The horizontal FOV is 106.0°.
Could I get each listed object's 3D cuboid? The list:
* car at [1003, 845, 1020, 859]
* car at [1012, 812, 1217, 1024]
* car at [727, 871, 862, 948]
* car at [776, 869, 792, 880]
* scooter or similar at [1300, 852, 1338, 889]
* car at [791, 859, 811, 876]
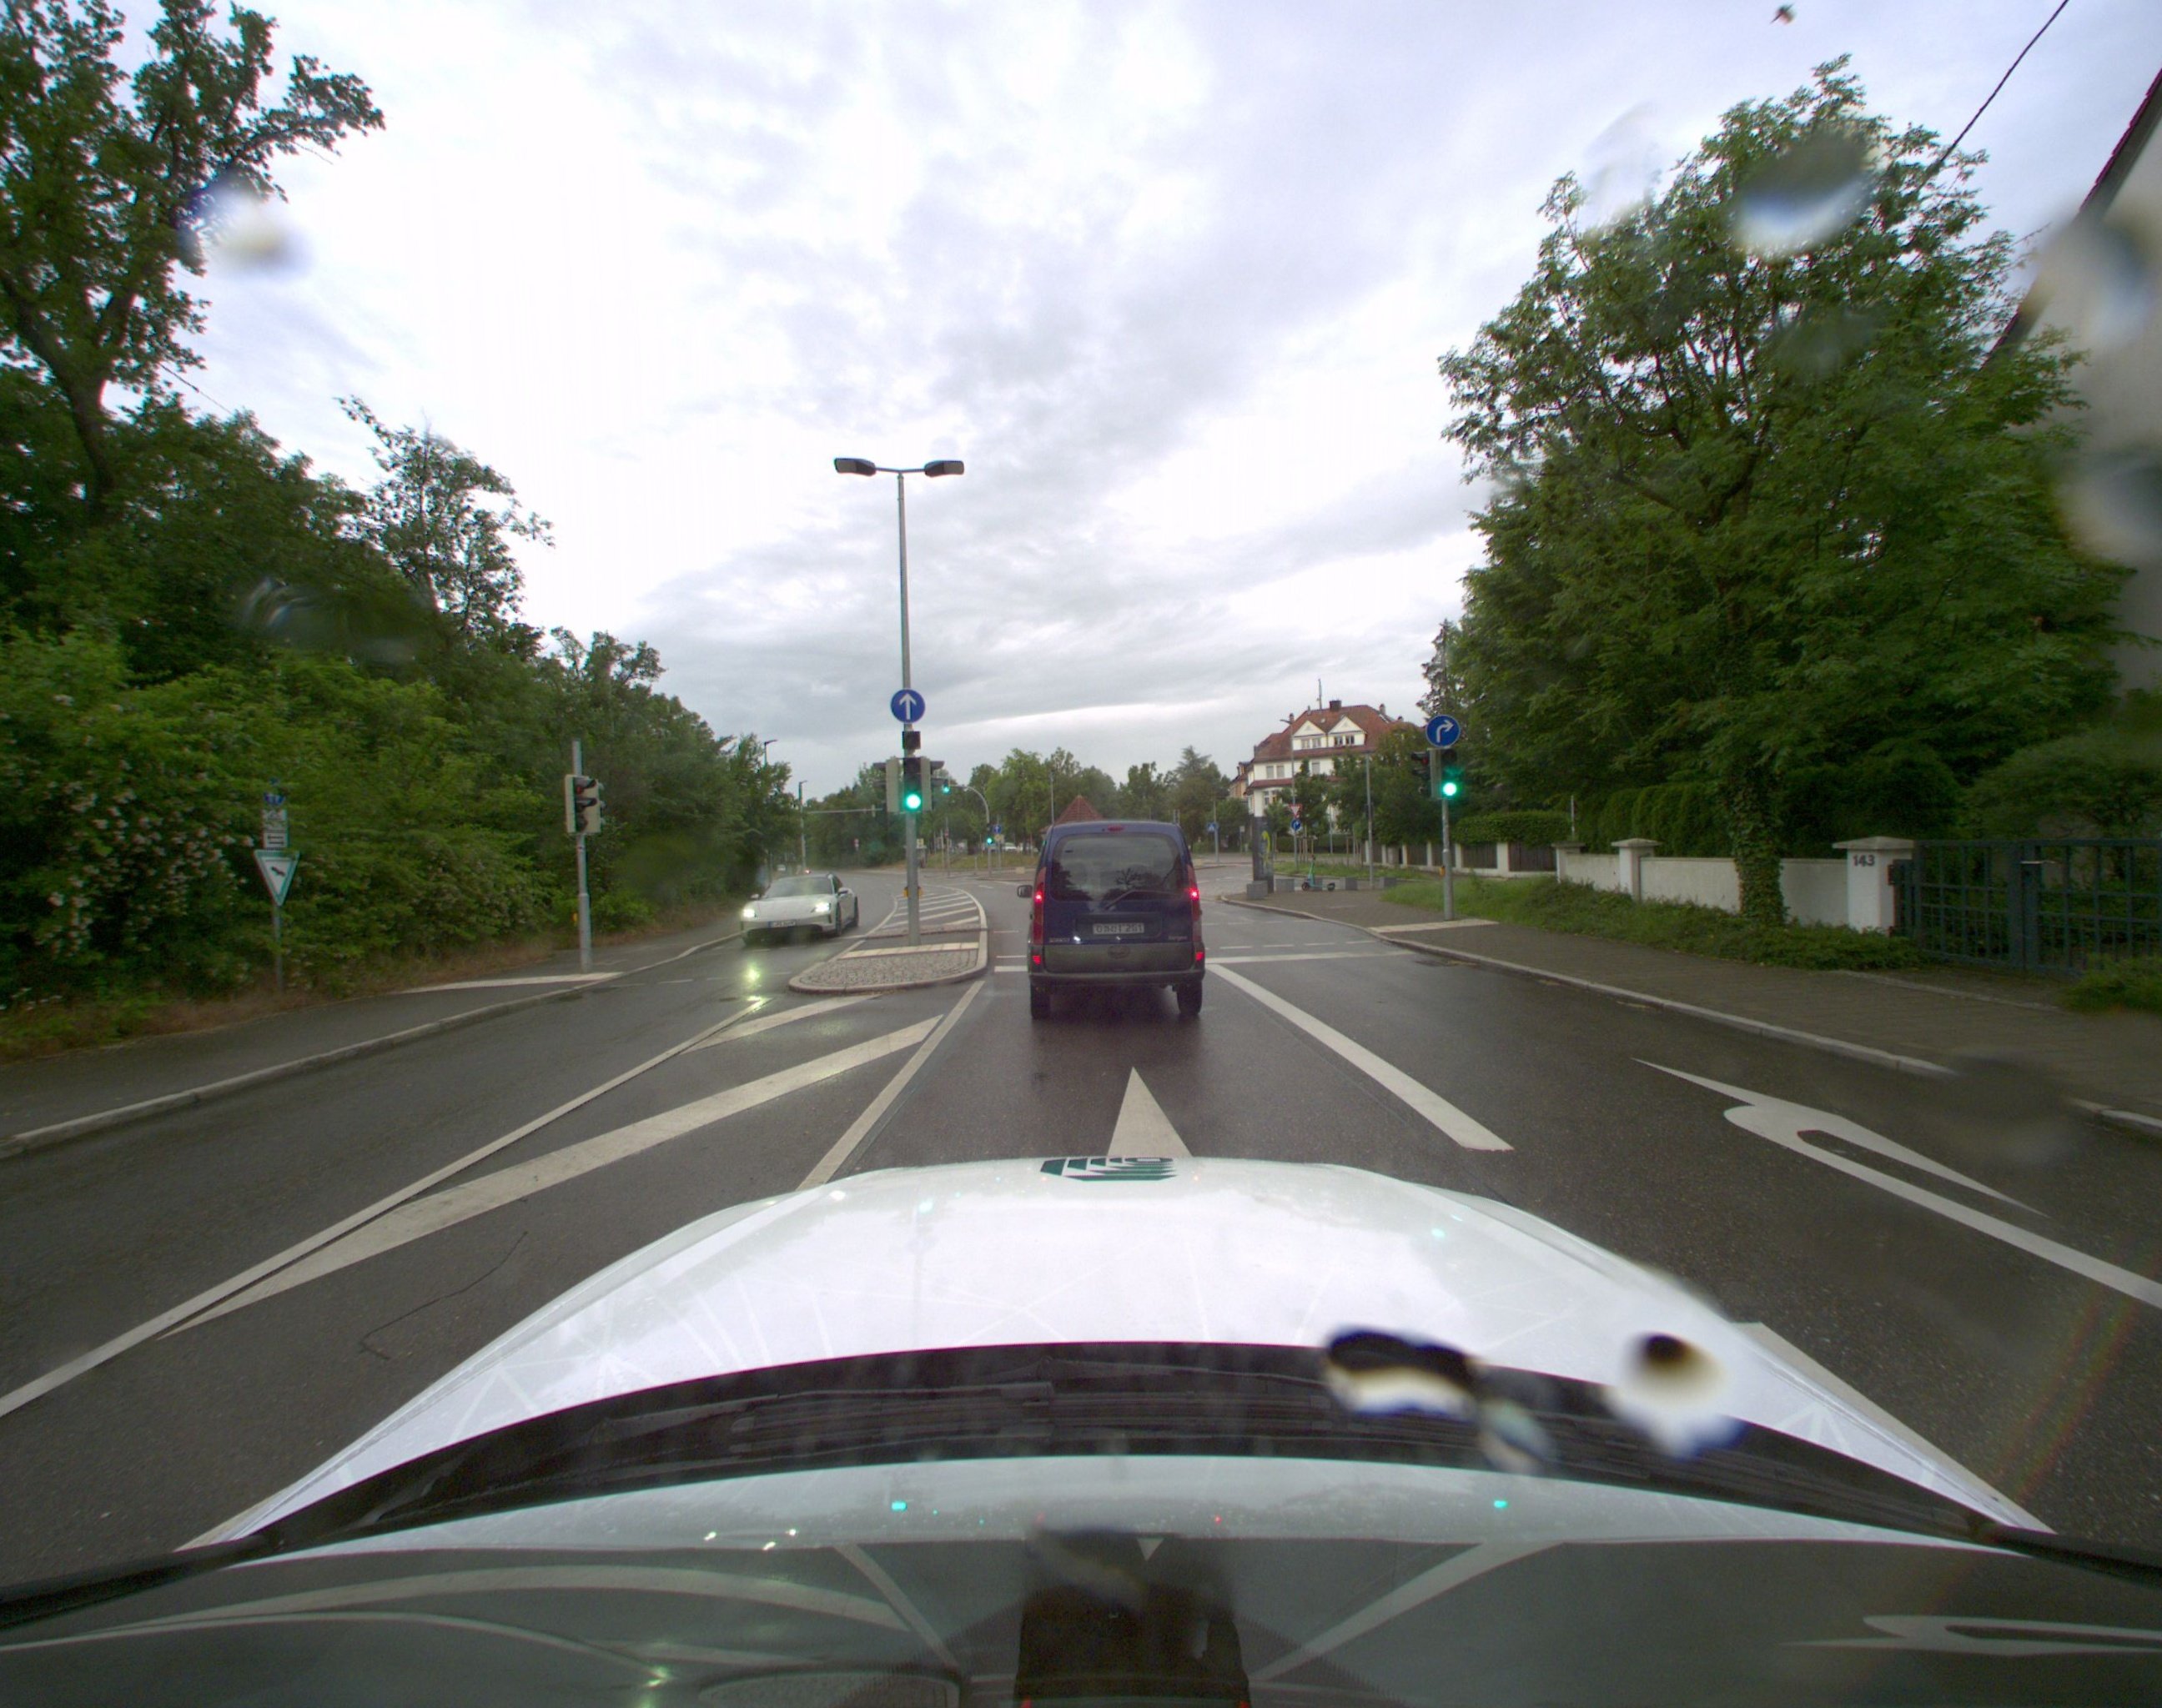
[{"bbox_3d":[-9.380,-0.261,110.315,1.989,1.812,3.996,-1,-1,-2],"label":"car"},{"bbox_3d":[0.293,0.540,9.012,1.726,1.786,3.999,-1,0,0],"label":"car"},{"bbox_3d":[-6.346,1.156,18.571,1.993,1.311,4.347,-5,0,-8],"label":"car"},{"bbox_3d":[-43.837,3.047,120.405,1.999,1.585,3.976,-1,-1,-18],"label":"car"},{"bbox_3d":[8.086,0.573,27.701,1.145,1.219,0.406,-2,-1,1],"label":"scooter or similar"},{"bbox_3d":[-34.480,1.674,100.079,2.003,2.014,3.968,-1,-1,-24],"label":"car"}]
